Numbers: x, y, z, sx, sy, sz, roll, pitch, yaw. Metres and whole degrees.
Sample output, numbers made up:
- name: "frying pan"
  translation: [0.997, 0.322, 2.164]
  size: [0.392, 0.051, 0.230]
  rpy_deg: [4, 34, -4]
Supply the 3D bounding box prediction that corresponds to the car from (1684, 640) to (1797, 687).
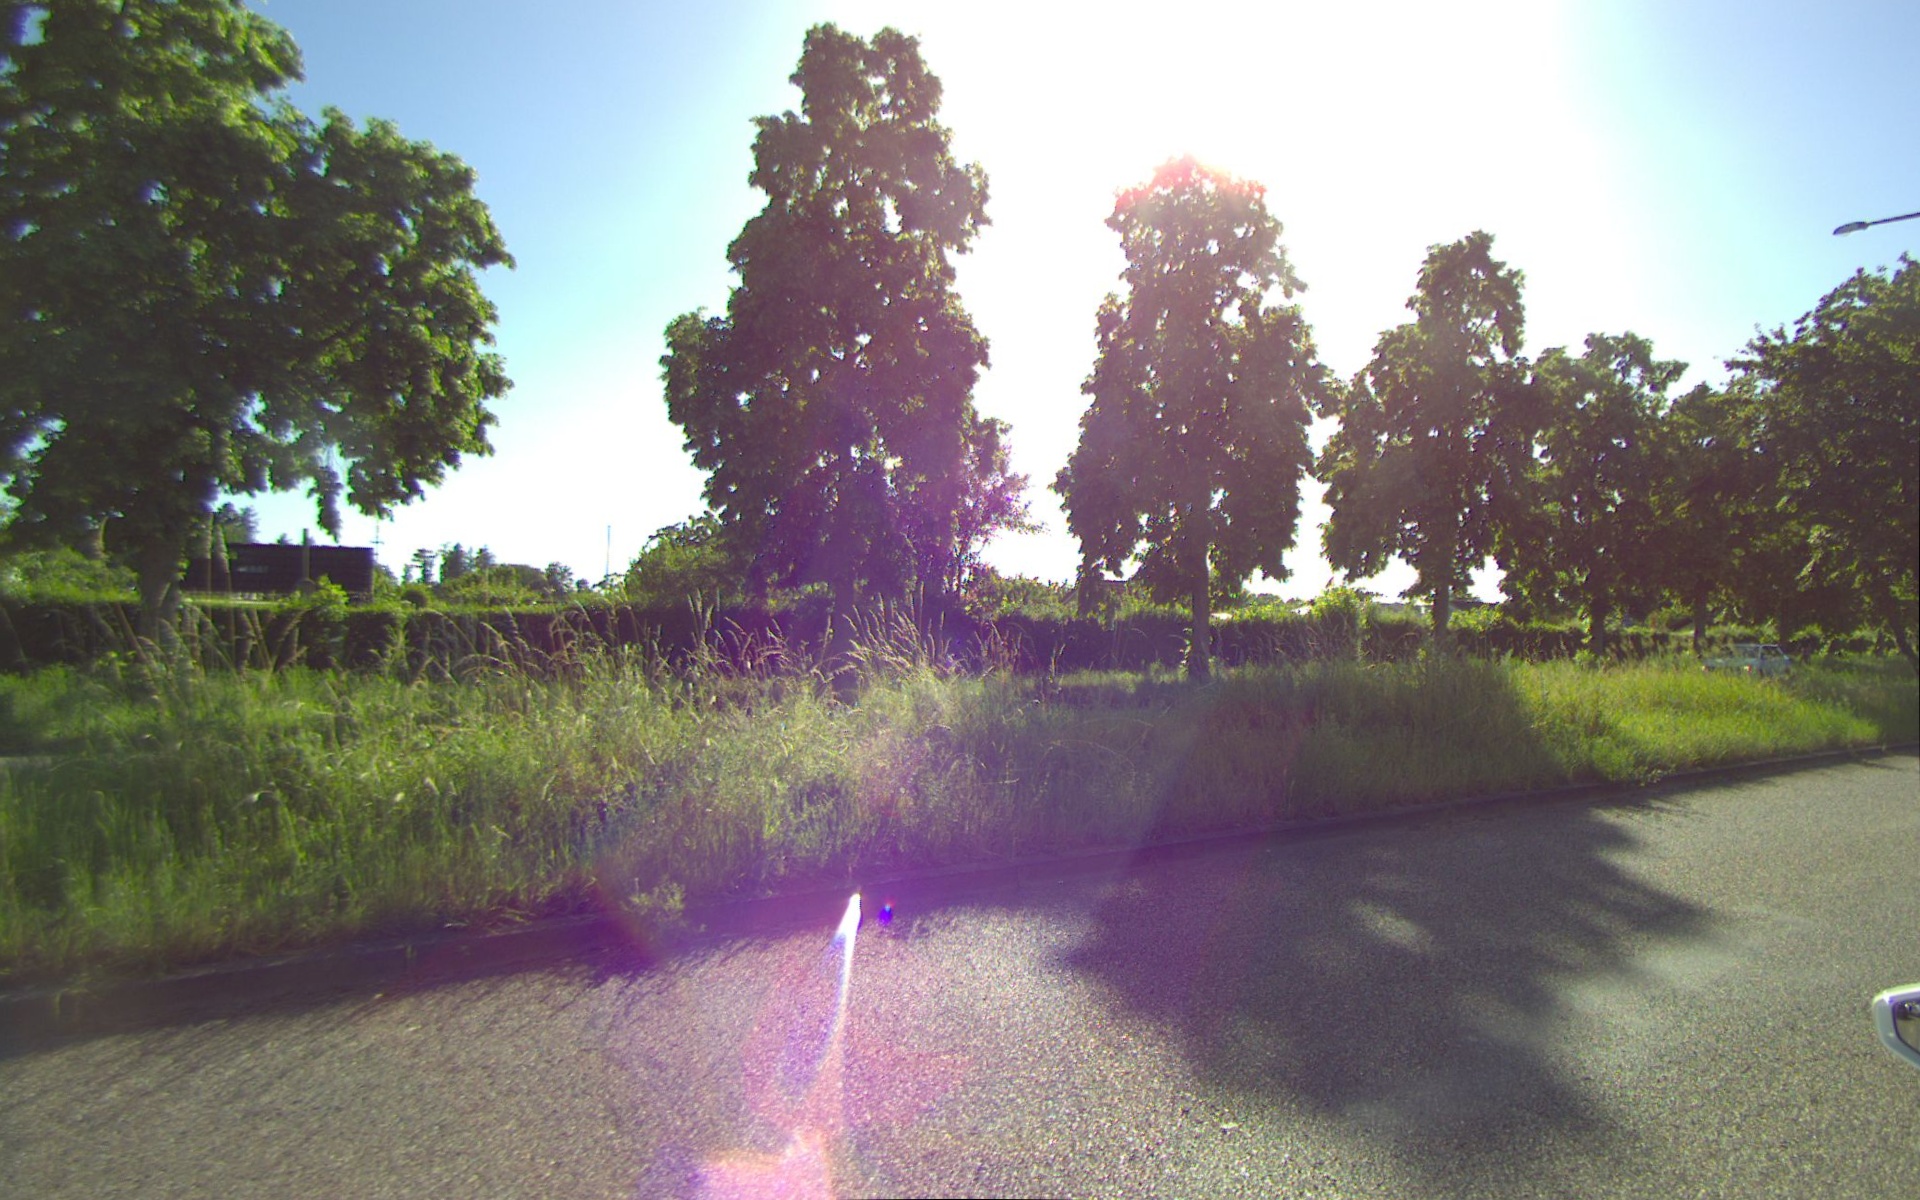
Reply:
- name: "car"
  translation: [26.540, 2.140, 34.120]
  size: [4.133, 1.486, 1.661]
  rpy_deg: [1, -4, -32]
